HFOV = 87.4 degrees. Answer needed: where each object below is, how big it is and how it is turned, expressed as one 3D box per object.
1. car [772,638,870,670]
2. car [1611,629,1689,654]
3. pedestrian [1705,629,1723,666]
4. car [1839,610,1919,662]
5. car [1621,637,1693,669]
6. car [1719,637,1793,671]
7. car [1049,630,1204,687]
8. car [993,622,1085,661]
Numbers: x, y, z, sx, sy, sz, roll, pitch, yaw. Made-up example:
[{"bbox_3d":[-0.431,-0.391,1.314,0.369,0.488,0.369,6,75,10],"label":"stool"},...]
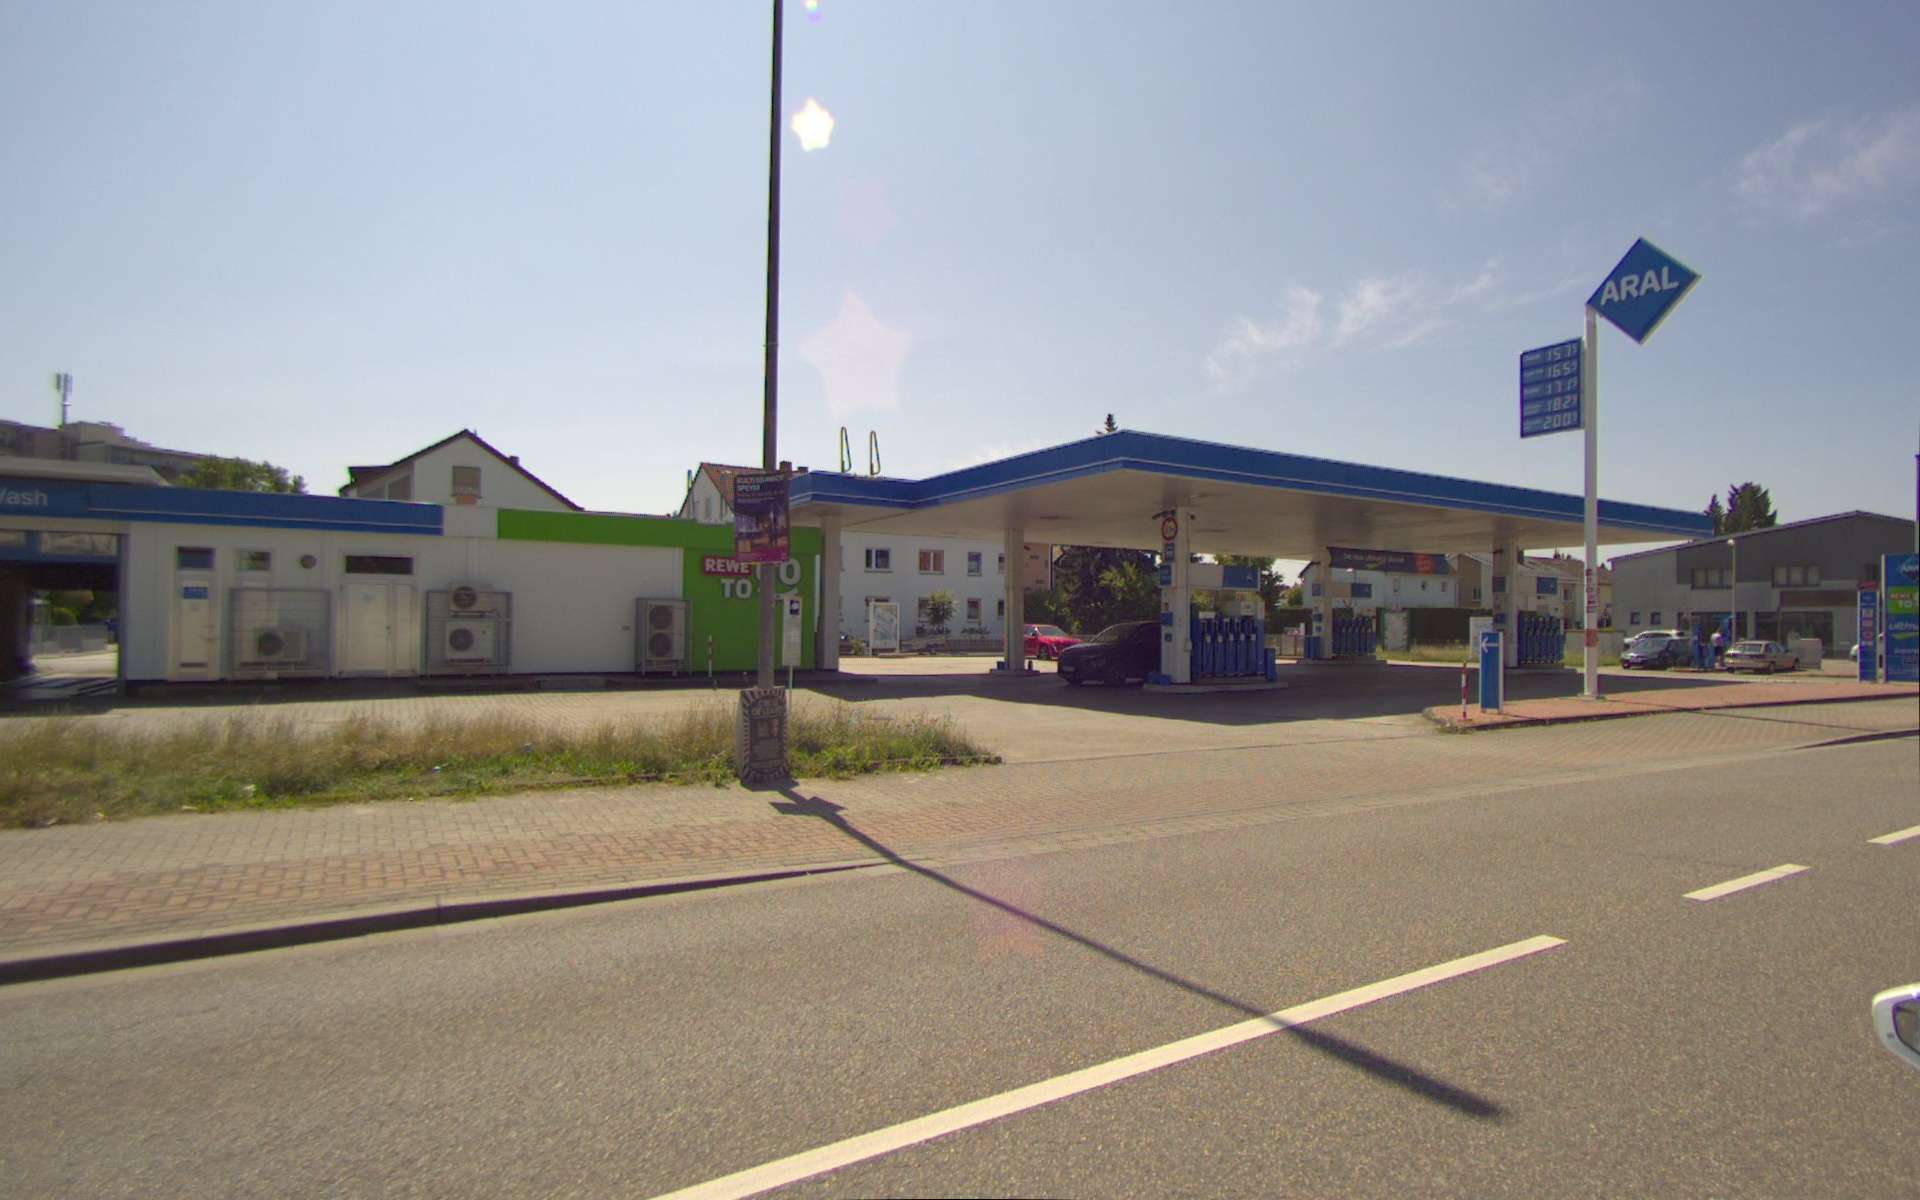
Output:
[{"bbox_3d":[-6.069,2.354,43.935,3.954,1.305,1.666,1,-1,-31],"label":"car"},{"bbox_3d":[45.532,2.704,66.348,1.538,1.528,3.964,1,-2,-33],"label":"car"},{"bbox_3d":[35.216,2.229,46.926,0.602,1.713,0.707,0,-1,34],"label":"pedestrian"},{"bbox_3d":[47.711,1.857,49.877,1.985,2.454,5.876,3,-1,-41],"label":"car"},{"bbox_3d":[33.025,2.489,47.588,3.674,1.438,1.607,2,-3,-35],"label":"car"},{"bbox_3d":[35.418,2.397,44.672,3.674,1.438,1.607,2,-3,-35],"label":"car"},{"bbox_3d":[4.470,1.534,26.812,3.954,1.400,1.662,1,-1,-31],"label":"car"},{"bbox_3d":[3.300,1.737,42.560,1.660,1.556,3.957,2,-2,-38],"label":"car"}]
